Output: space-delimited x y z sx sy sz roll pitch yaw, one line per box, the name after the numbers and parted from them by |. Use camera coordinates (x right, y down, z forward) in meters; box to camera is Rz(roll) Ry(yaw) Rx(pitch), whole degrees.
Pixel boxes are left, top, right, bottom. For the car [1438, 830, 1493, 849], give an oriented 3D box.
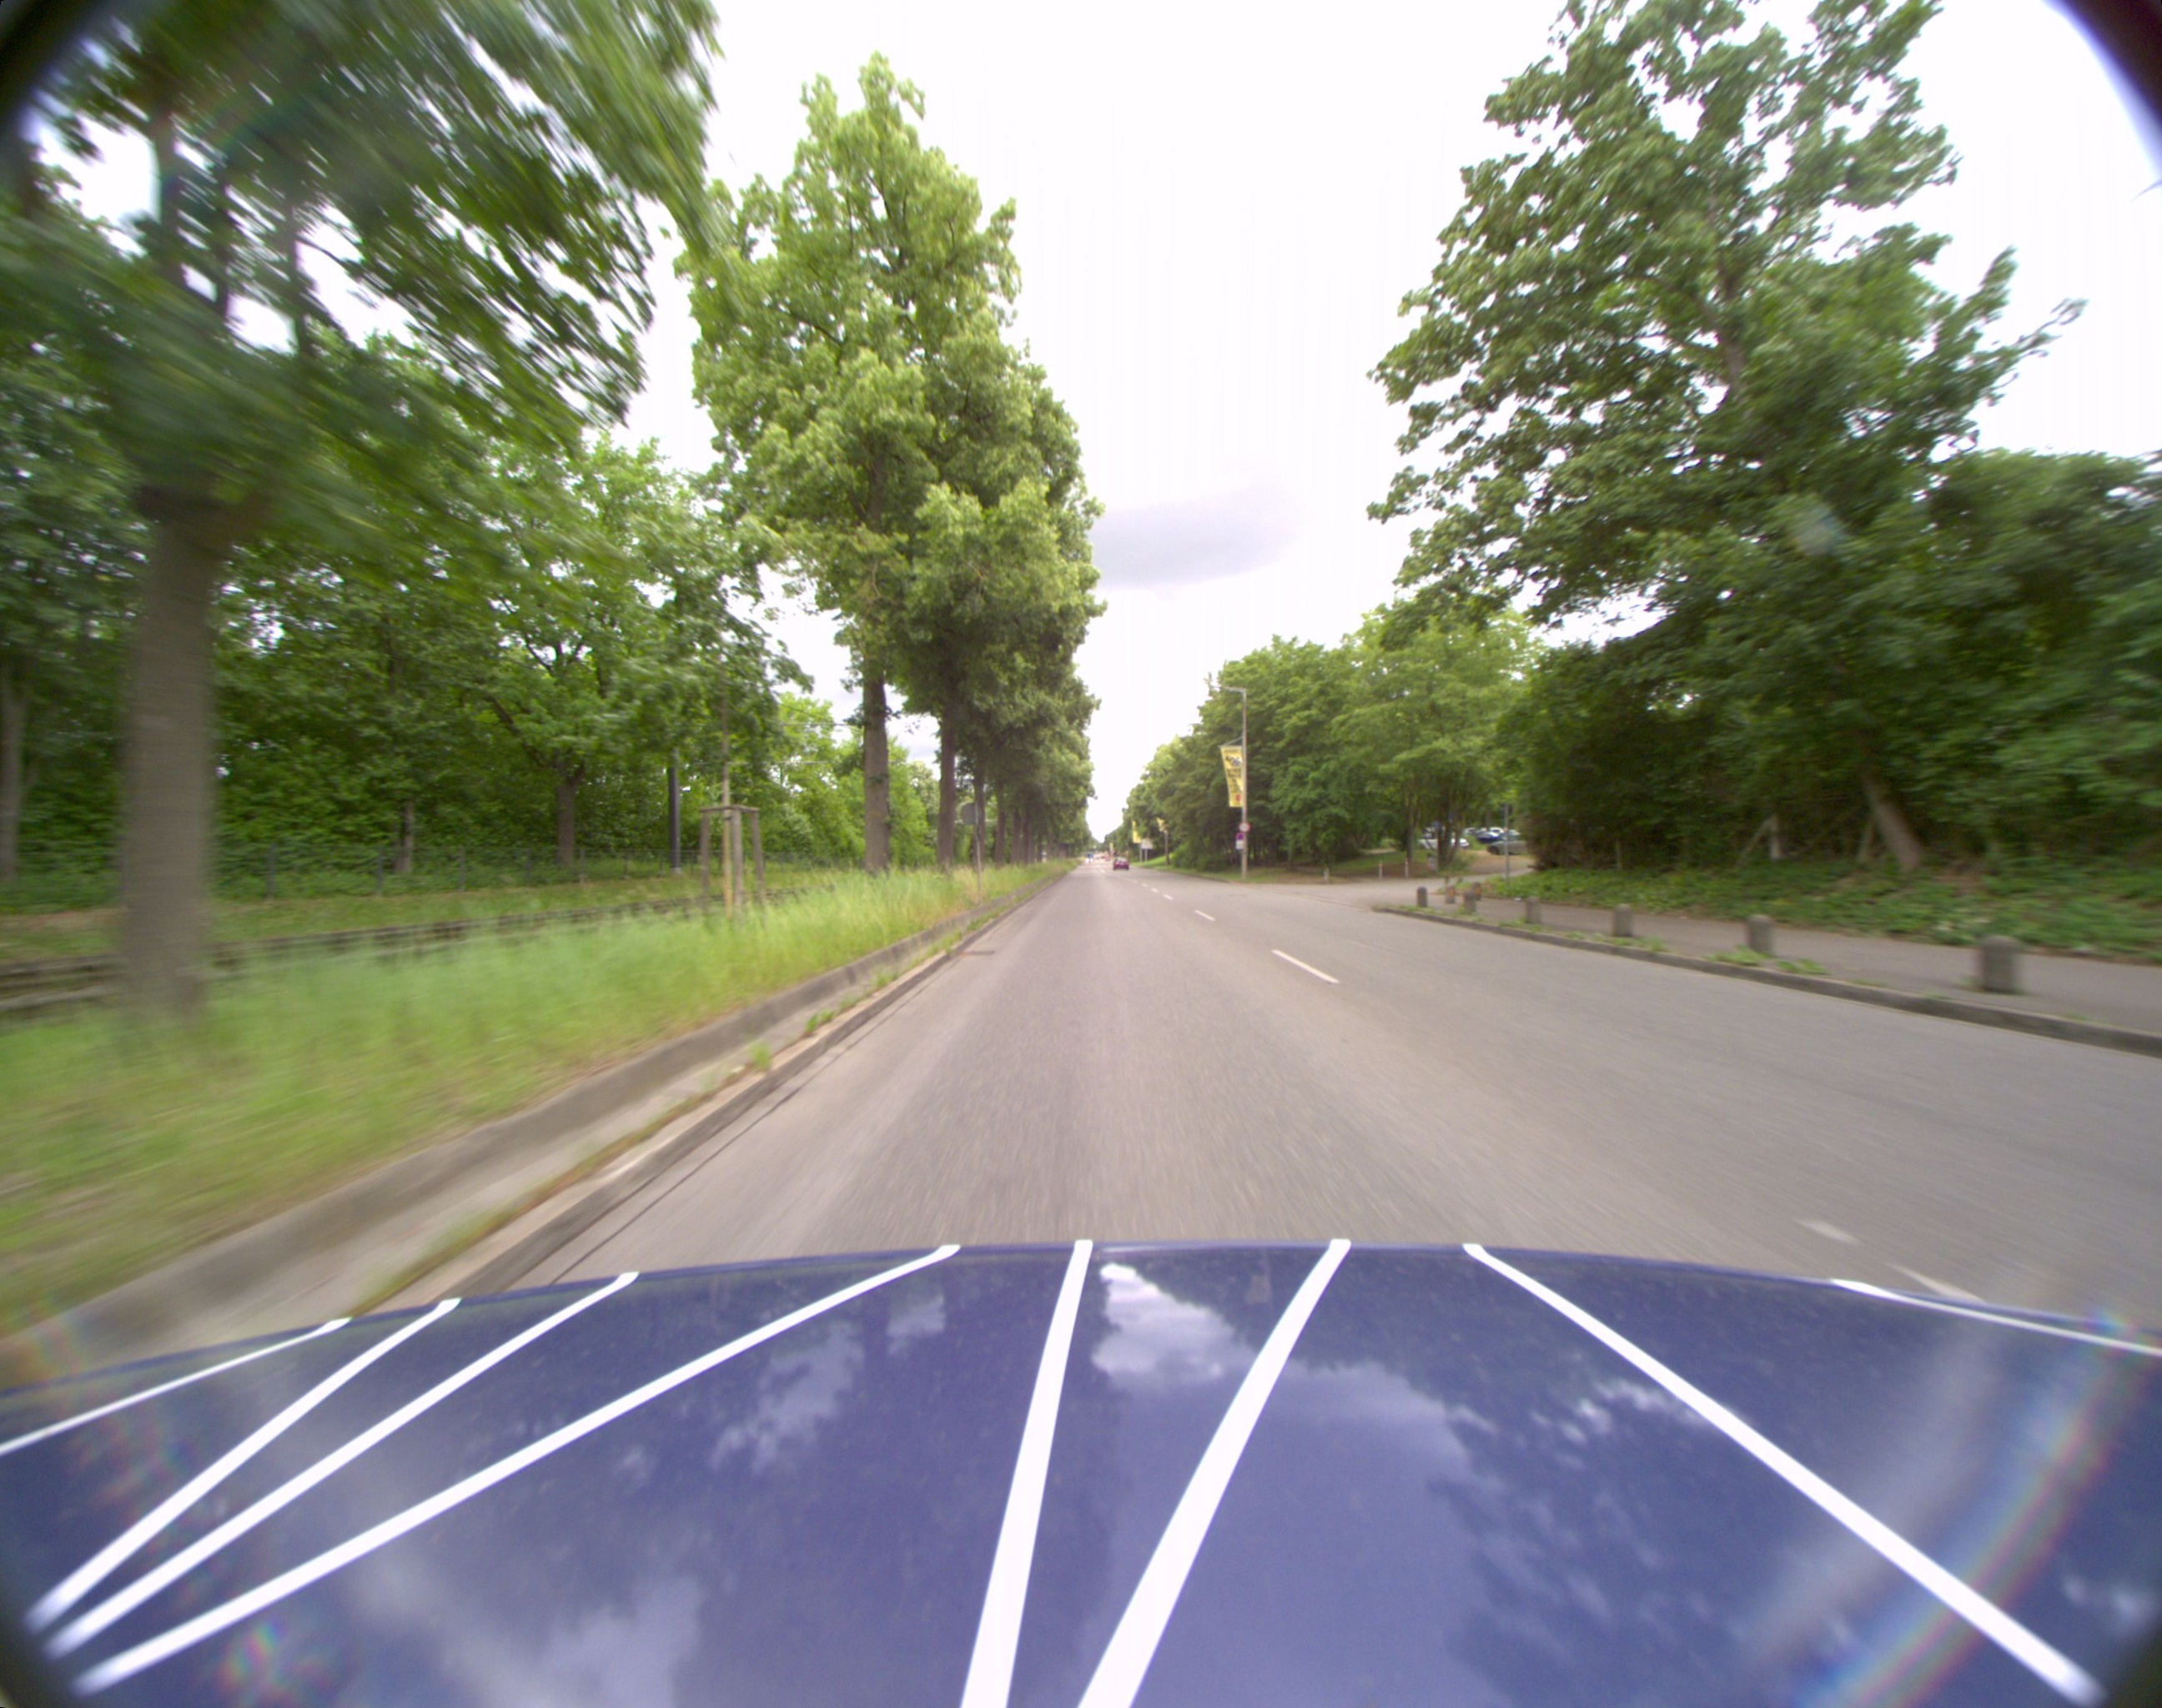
32.217 -1.186 63.755 1.653 1.477 3.993 -2 0 -23 | car

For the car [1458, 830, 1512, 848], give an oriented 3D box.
35.616 -1.313 67.095 1.653 1.477 3.993 -2 0 -23 | car

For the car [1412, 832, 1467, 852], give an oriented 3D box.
29.473 -0.993 62.626 1.653 1.477 3.993 -2 0 -23 | car

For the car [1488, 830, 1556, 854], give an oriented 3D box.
29.523 -0.788 50.989 1.651 1.372 3.580 -4 1 -26 | car

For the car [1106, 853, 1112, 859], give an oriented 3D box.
9.617 0.644 264.698 1.998 1.944 5.184 -1 0 1 | car

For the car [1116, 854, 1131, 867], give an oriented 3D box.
4.983 0.760 88.363 1.720 1.420 4.198 1 0 3 | car
